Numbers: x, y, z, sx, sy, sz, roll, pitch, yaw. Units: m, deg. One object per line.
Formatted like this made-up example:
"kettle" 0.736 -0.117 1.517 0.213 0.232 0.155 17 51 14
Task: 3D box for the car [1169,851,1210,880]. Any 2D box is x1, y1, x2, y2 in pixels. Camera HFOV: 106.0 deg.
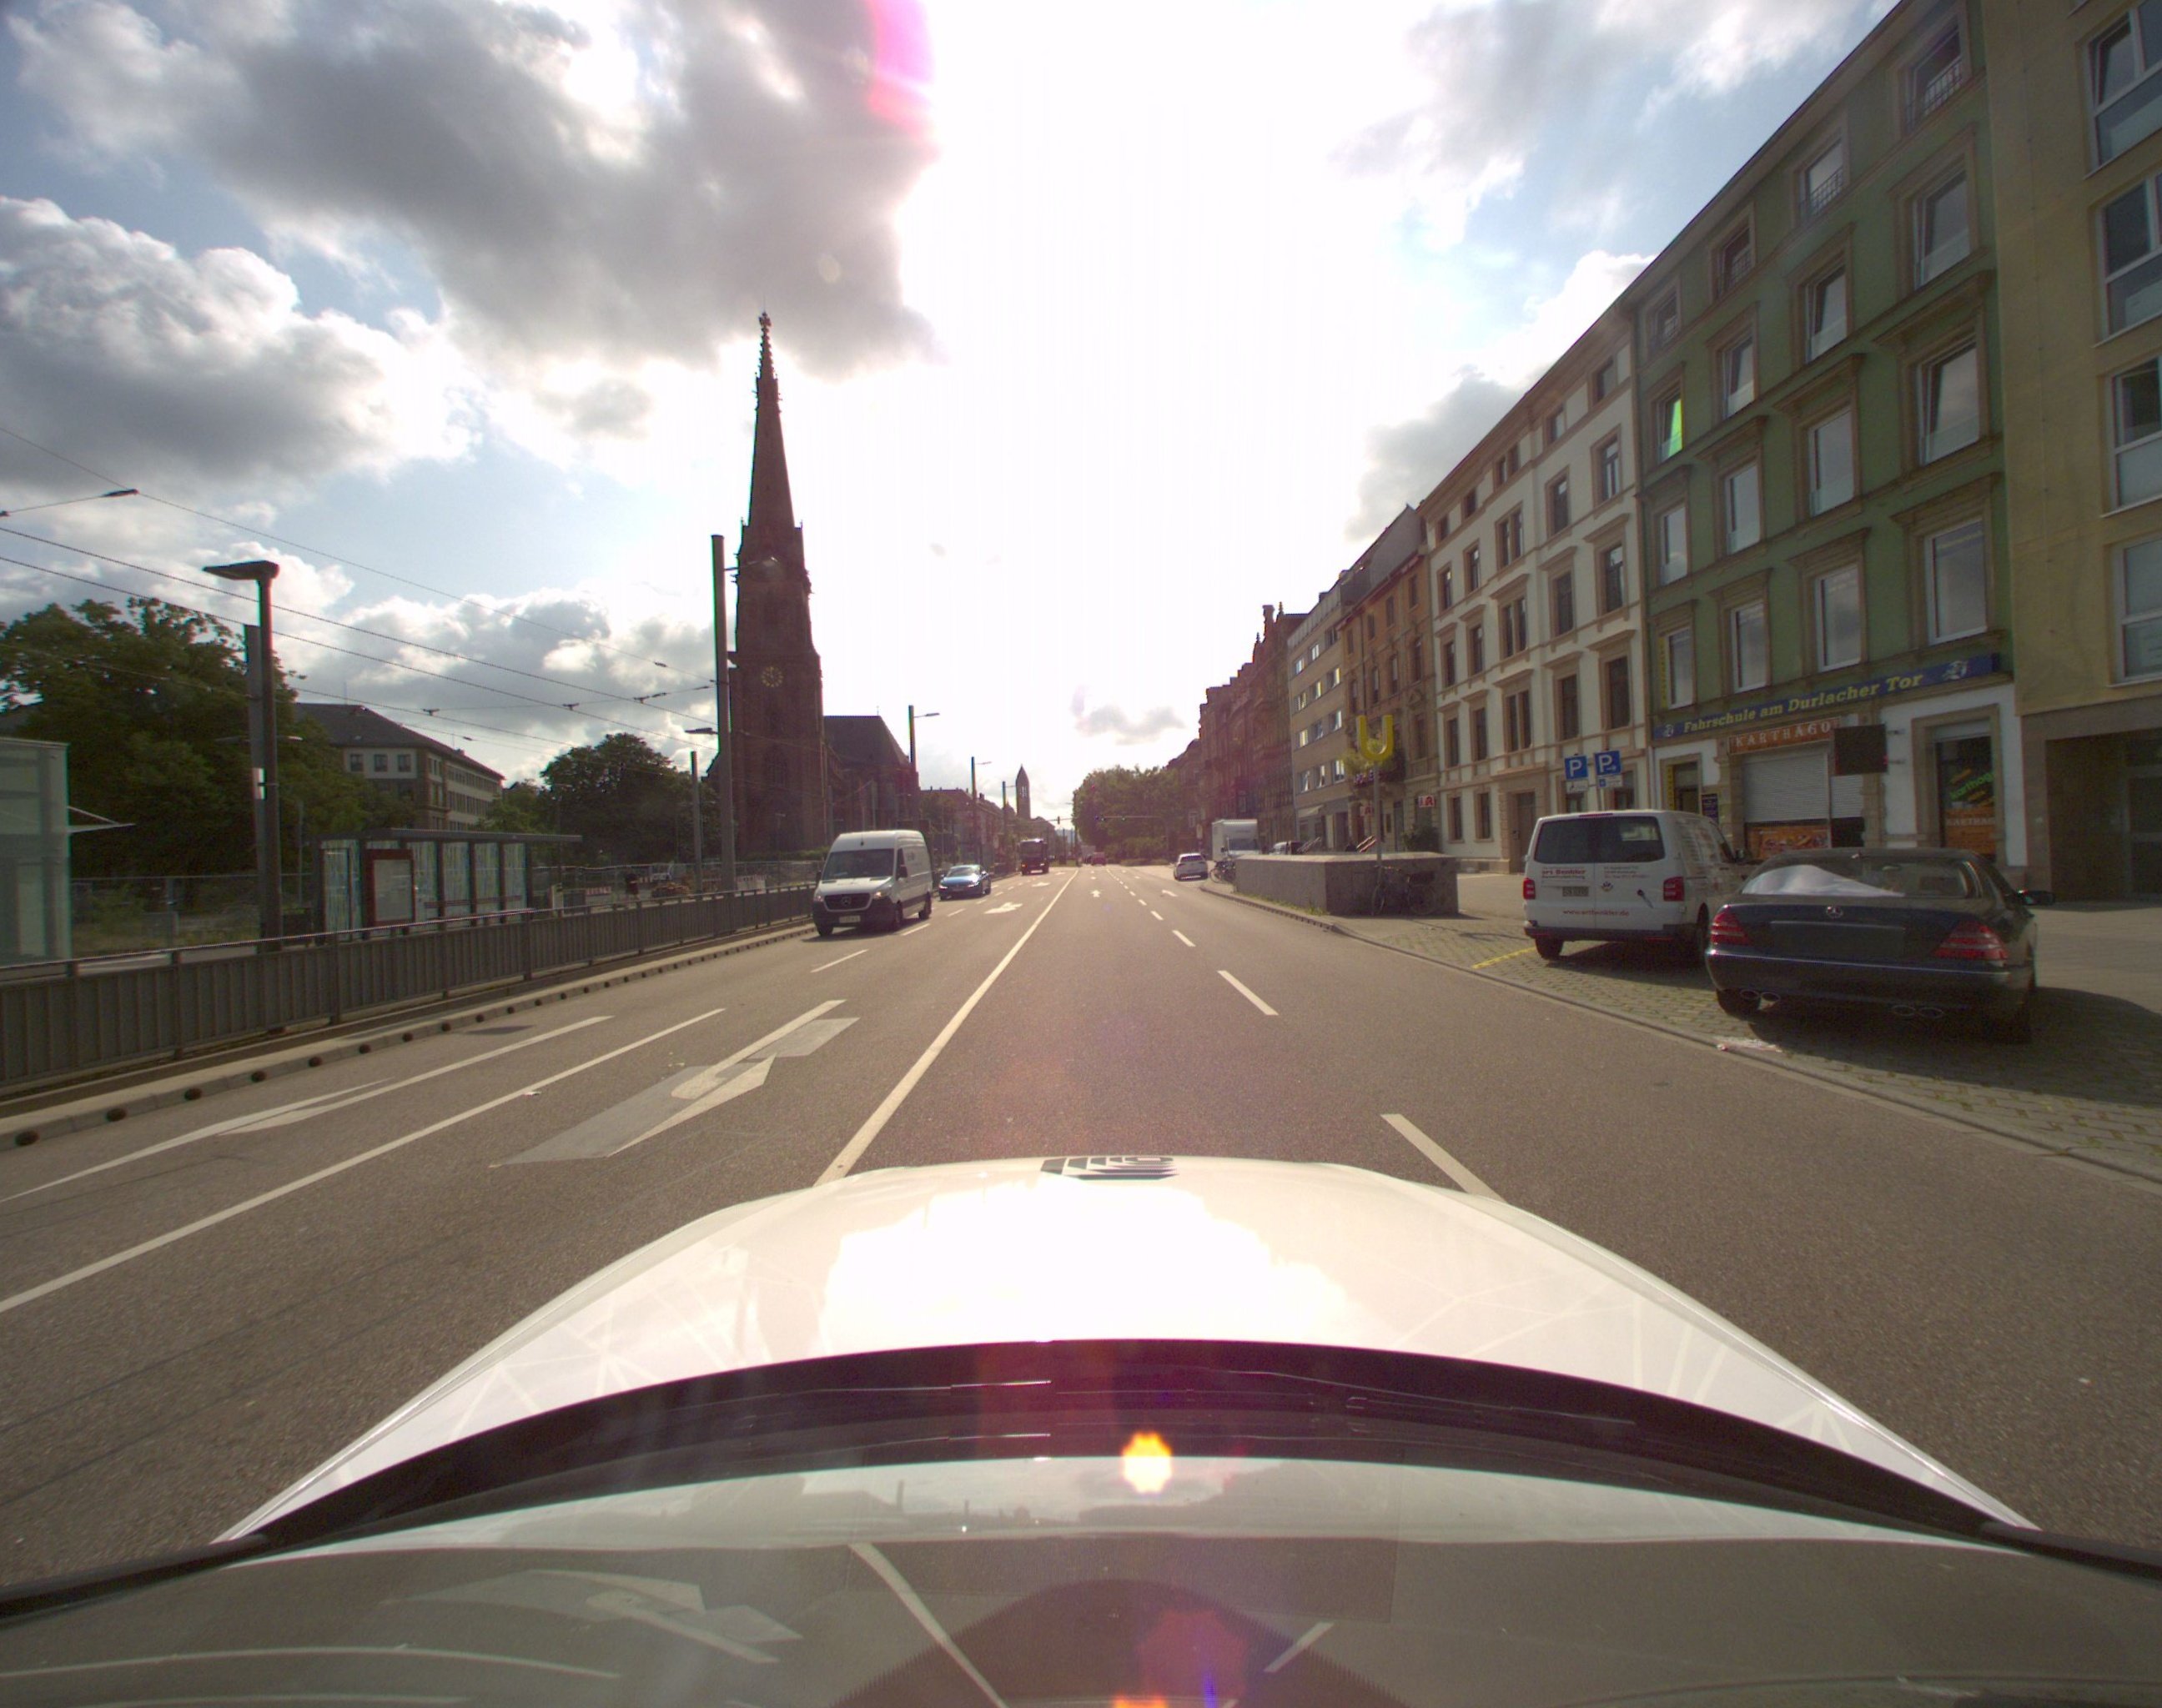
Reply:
"car" 6.142 0.655 46.573 1.784 1.437 4.345 -6 -1 2

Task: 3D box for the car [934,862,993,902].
"car" -5.257 1.217 36.942 1.843 1.455 4.556 -4 1 1

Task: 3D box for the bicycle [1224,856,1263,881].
"bicycle" 7.565 0.676 38.013 1.751 1.085 0.373 -1 1 2

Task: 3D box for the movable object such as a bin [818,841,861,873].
"movable object such as a bin" -28.950 0.337 97.918 2.650 3.730 5.606 -2 0 8

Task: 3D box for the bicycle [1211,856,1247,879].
"bicycle" 7.494 0.687 41.208 1.755 1.085 0.372 -1 1 -6

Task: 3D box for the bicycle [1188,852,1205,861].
"bicycle" 15.557 0.293 109.442 2.185 1.181 0.683 -2 0 -5

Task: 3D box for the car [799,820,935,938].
"car" -5.470 0.577 21.702 1.987 2.621 5.579 -3 0 0

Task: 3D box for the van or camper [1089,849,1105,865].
"van or camper" 2.249 0.466 116.056 2.004 1.915 4.516 0 -4 -3

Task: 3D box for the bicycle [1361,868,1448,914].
"bicycle" 7.132 0.811 17.986 1.771 1.004 0.511 0 -1 -8

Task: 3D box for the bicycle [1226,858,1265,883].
"bicycle" 7.593 0.762 37.609 1.751 1.085 0.373 -1 1 2

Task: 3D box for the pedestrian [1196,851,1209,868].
"pedestrian" 9.768 0.455 65.487 0.748 1.316 0.812 0 -1 -38

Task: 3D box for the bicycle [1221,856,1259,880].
"bicycle" 7.737 0.679 39.648 1.759 1.085 0.371 -1 1 -12

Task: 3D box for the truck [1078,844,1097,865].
"truck" 1.255 0.094 149.203 3.158 3.287 7.296 -1 -5 1

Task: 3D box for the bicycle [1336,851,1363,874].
"bicycle" 13.302 0.434 40.412 0.701 1.048 2.209 0 -4 3

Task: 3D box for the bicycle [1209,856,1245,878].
"bicycle" 7.479 0.657 41.613 1.755 1.085 0.372 -1 1 -6

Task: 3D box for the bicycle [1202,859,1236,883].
"bicycle" 6.582 0.793 38.859 1.601 1.085 0.370 -2 1 -19

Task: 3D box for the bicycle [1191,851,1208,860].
"bicycle" 15.712 0.198 108.053 2.185 1.181 0.683 -2 0 -5

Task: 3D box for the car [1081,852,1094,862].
"car" 1.006 0.529 129.390 1.988 1.508 3.998 -2 0 -1

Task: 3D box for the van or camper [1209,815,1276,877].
"van or camper" 9.571 -0.427 49.077 2.702 3.331 7.643 -2 0 2

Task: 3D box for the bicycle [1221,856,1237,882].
"bicycle" 6.640 0.669 36.533 0.370 1.071 1.764 -1 1 0

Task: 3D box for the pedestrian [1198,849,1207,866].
"pedestrian" 14.882 0.447 99.799 0.883 2.014 0.996 0 -1 0

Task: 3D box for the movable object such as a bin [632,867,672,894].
"movable object such as a bin" -38.599 2.345 73.411 1.995 2.206 4.255 -2 0 -11

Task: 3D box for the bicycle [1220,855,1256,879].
"bicycle" 7.728 0.636 40.095 1.759 1.085 0.371 -1 1 -12

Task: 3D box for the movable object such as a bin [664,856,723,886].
"movable object such as a bin" -39.160 1.683 82.418 4.886 2.801 2.000 -2 0 0

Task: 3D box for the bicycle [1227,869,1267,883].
"bicycle" 7.411 0.986 36.390 0.641 0.586 1.750 -2 0 -40

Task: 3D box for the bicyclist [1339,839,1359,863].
"bicyclist" 13.301 -0.151 40.400 0.705 1.148 0.814 0 -4 2

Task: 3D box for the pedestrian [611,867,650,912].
"pedestrian" -19.010 1.479 34.388 0.992 1.799 1.049 -1 2 6

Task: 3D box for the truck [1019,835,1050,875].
"truck" -4.537 0.058 80.783 2.454 3.648 7.451 -2 0 1

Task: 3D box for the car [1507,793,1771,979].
"car" 8.057 0.334 11.534 4.926 2.084 2.054 -1 0 -43

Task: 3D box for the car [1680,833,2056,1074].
"car" 7.294 0.596 7.449 5.092 1.468 1.868 -2 -1 -42

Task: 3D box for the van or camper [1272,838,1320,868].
"van or camper" 15.591 -0.054 59.331 1.987 1.904 5.298 -4 0 0
